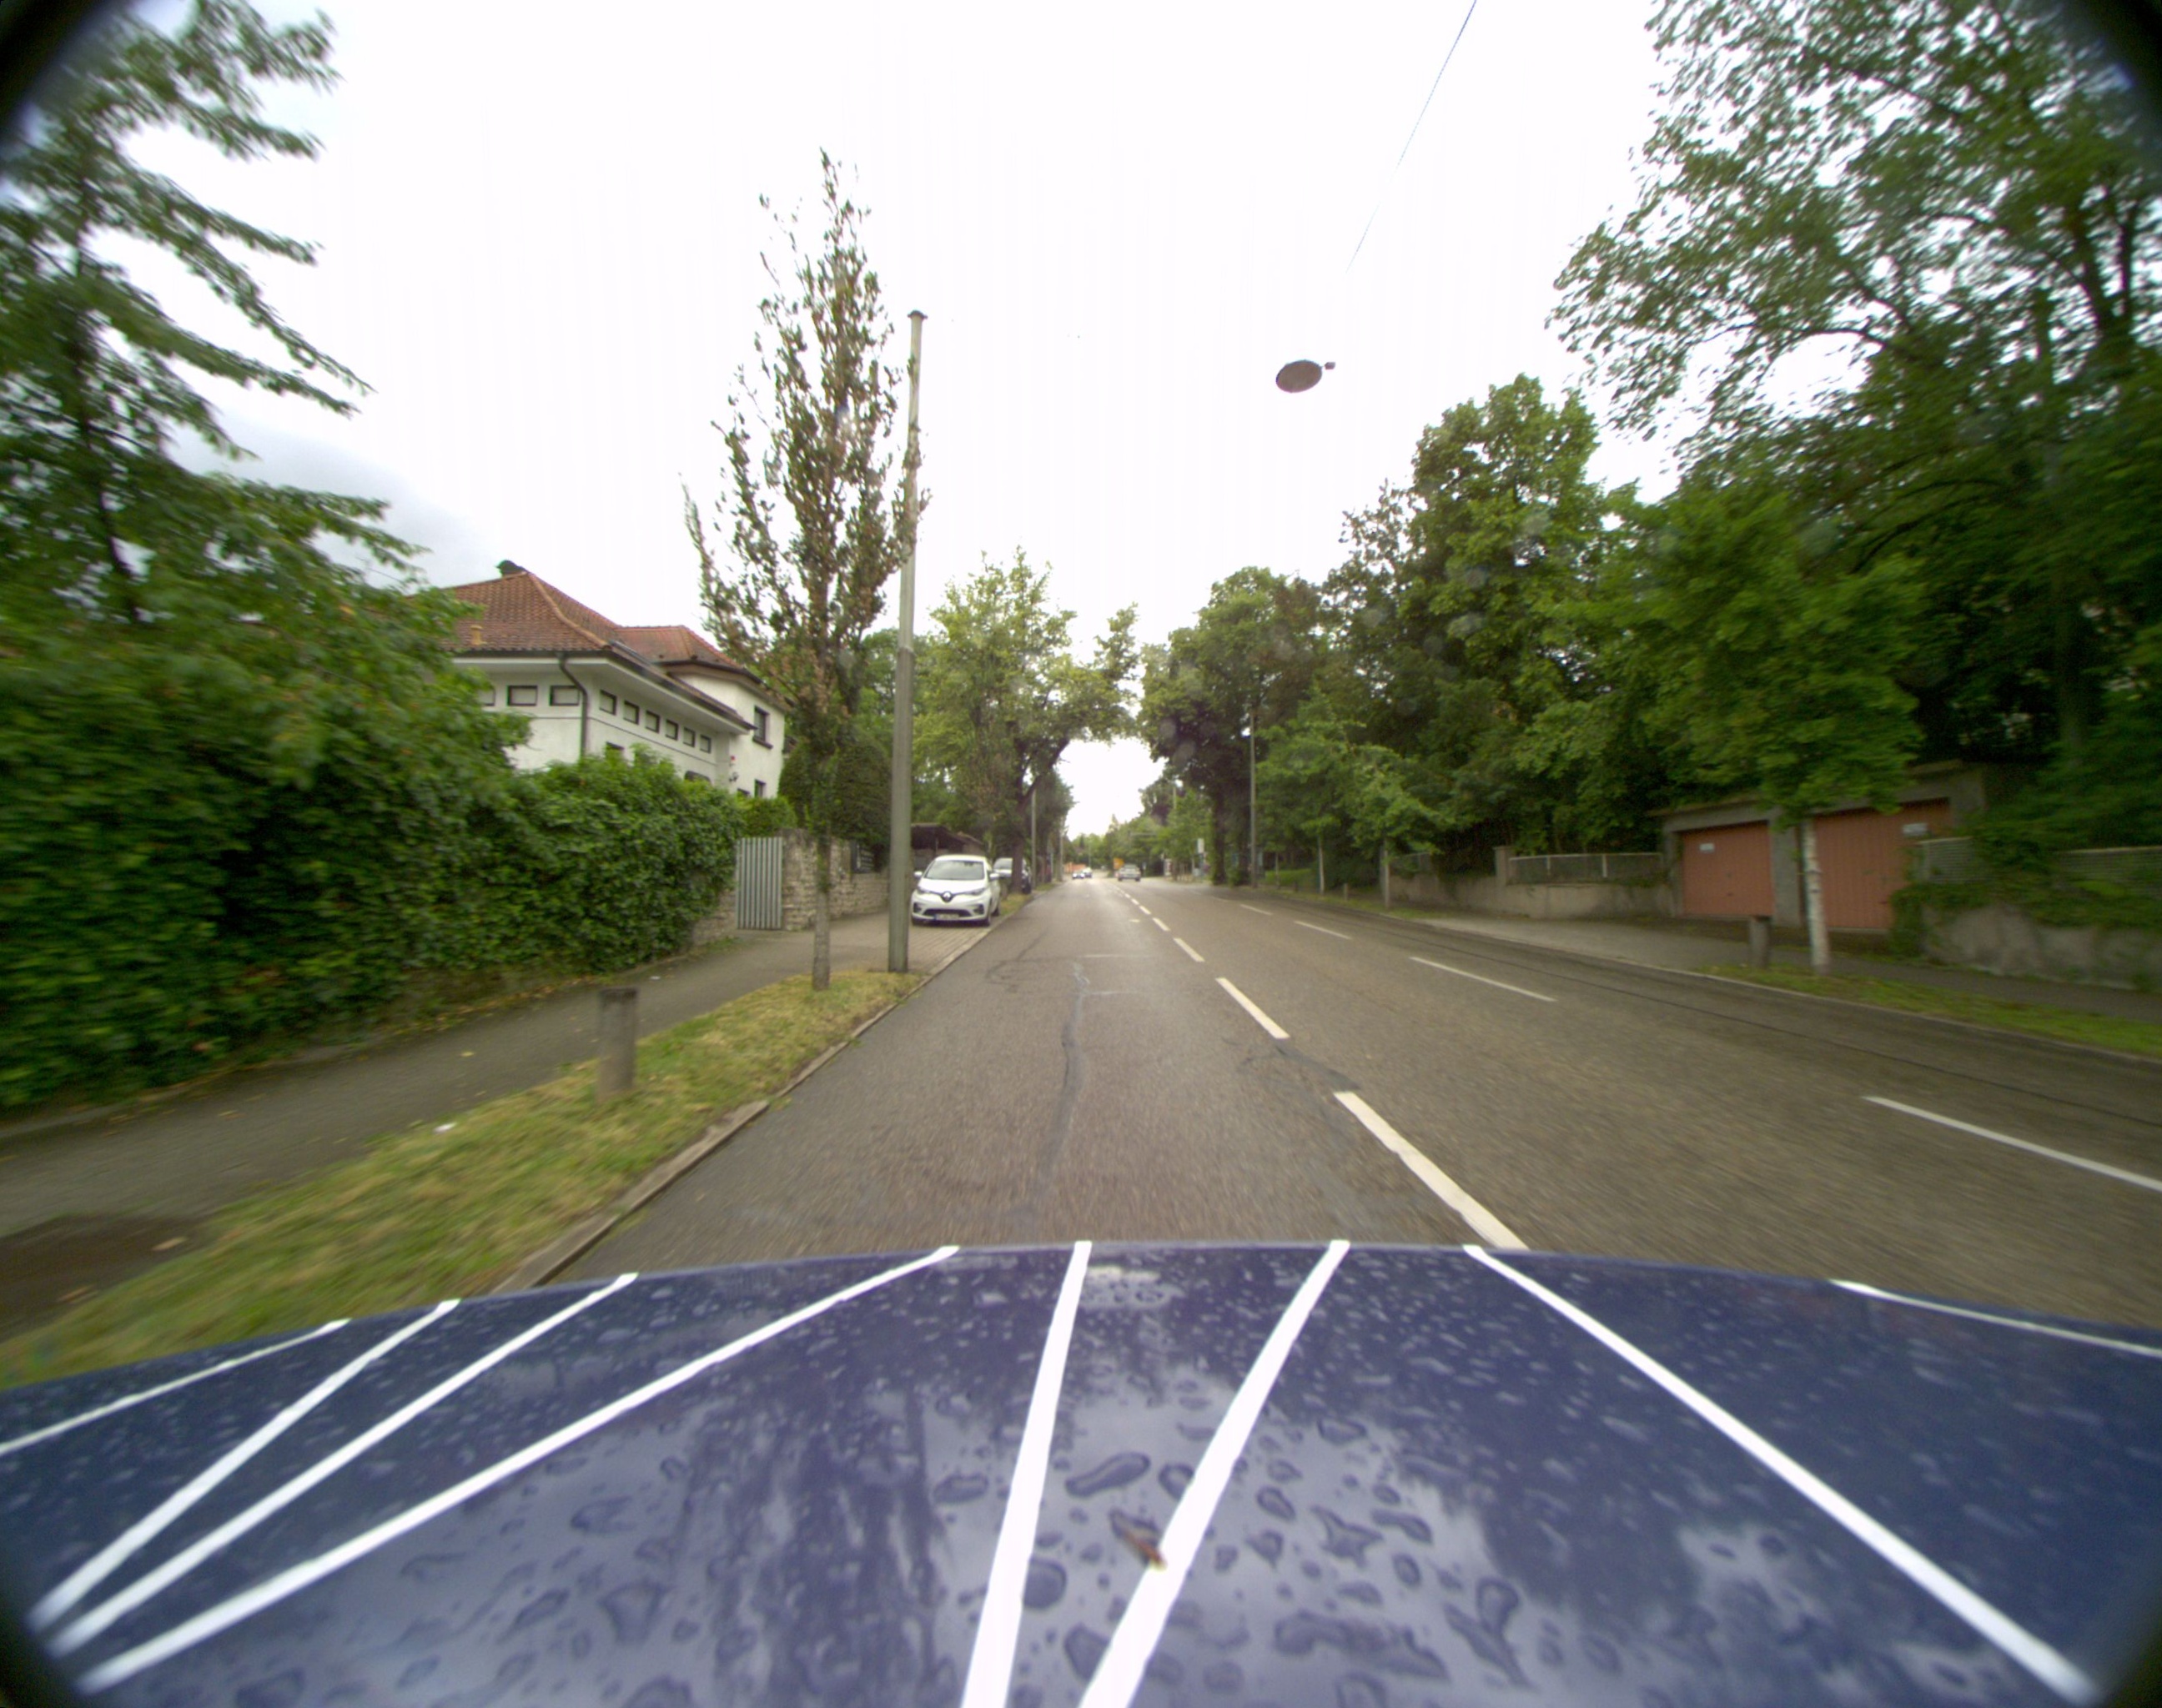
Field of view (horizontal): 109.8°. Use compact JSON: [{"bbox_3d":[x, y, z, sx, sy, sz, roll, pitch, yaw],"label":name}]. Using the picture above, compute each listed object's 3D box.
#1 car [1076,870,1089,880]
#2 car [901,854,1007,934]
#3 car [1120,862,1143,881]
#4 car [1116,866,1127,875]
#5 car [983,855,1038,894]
[{"bbox_3d":[0.265,3.589,131.342,1.998,1.674,4.002,-3,-1,3],"label":"car"},{"bbox_3d":[-2.847,0.834,17.860,1.829,1.620,3.999,1,0,-1],"label":"car"},{"bbox_3d":[4.356,1.457,66.099,1.798,1.500,4.093,-1,1,1],"label":"car"},{"bbox_3d":[7.190,3.011,135.063,1.876,1.539,4.001,2,-1,1],"label":"car"},{"bbox_3d":[-2.994,0.894,33.178,1.923,1.558,4.221,2,-2,1],"label":"car"}]
